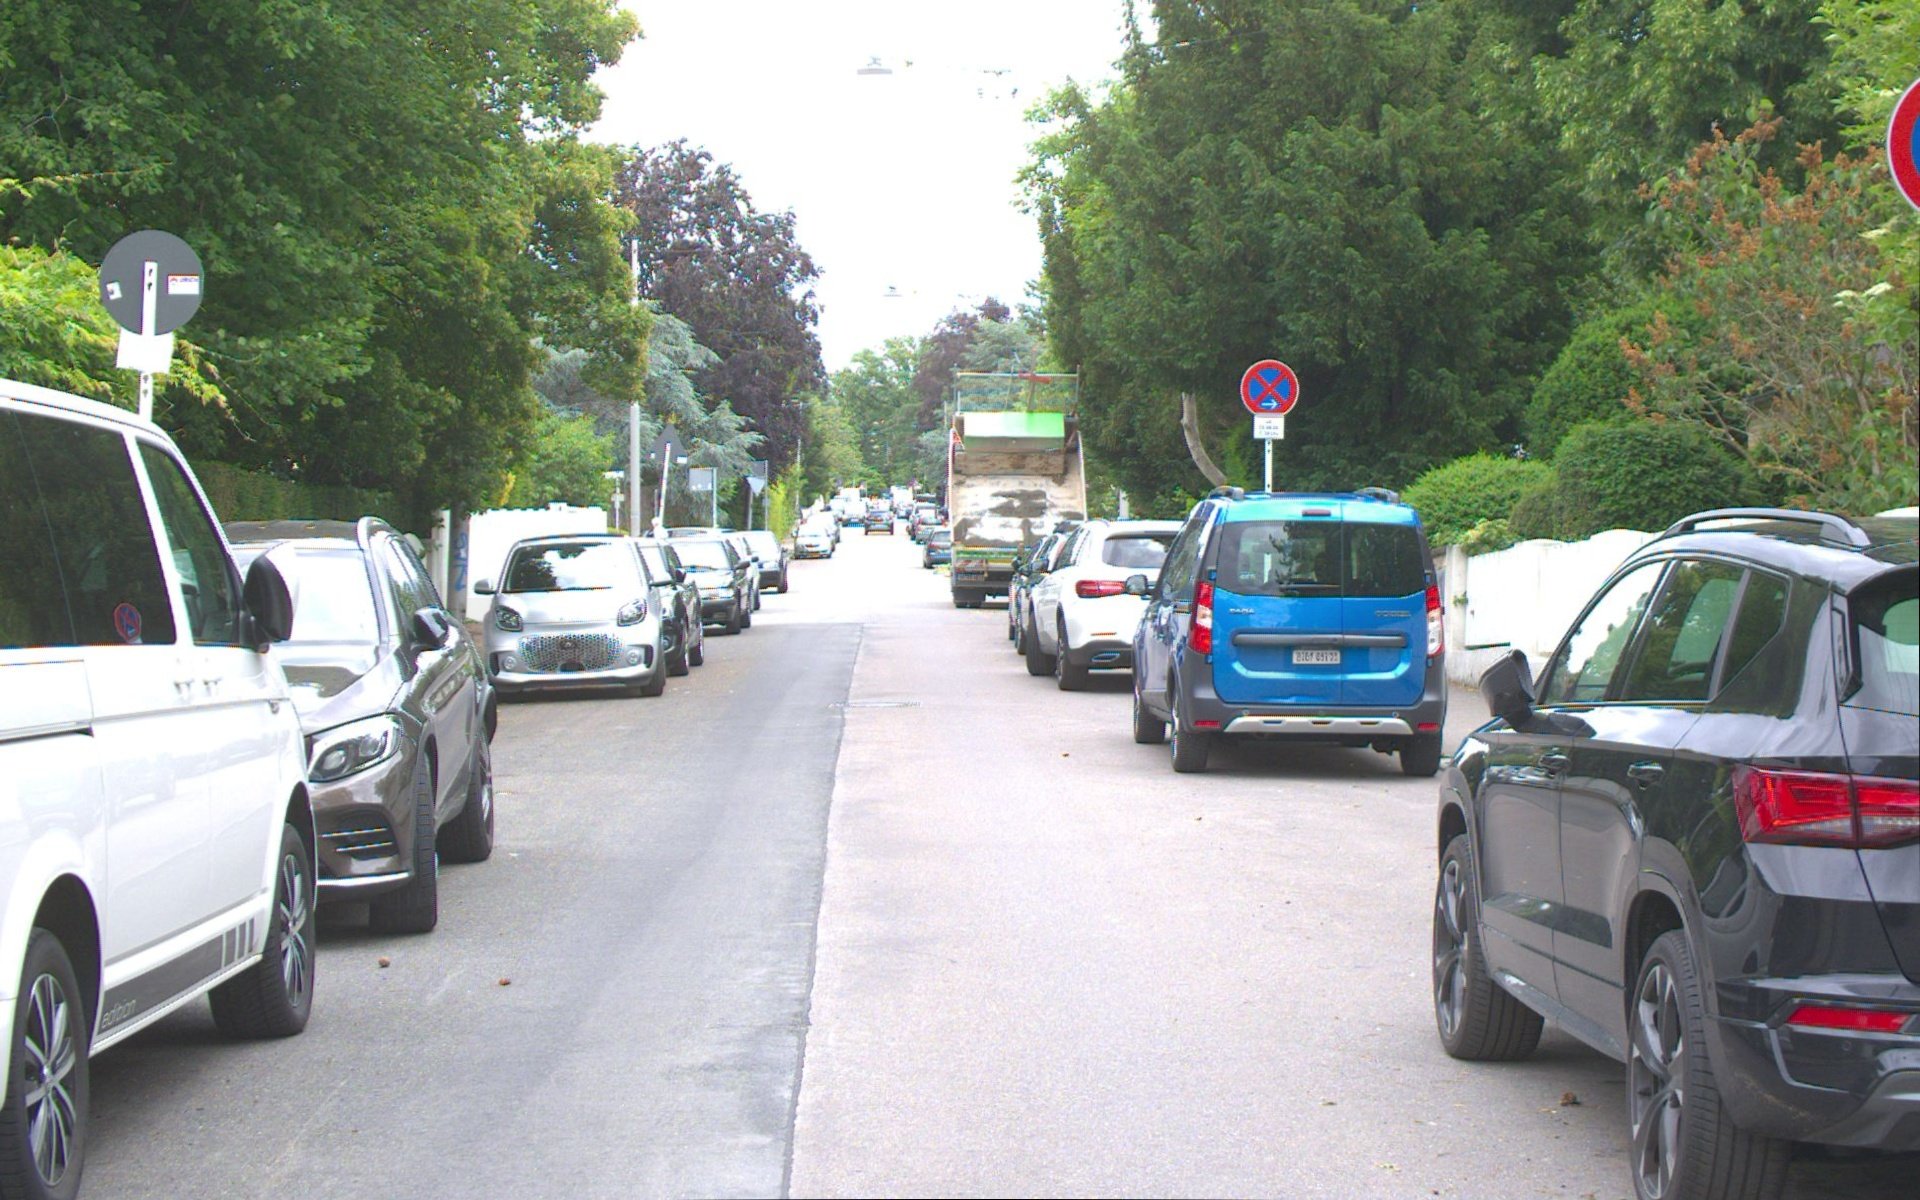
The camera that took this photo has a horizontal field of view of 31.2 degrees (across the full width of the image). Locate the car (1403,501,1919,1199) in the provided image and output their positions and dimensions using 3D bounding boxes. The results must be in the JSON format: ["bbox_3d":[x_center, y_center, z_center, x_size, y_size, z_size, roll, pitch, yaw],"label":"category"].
[{"bbox_3d":[2.349,0.625,8.794,1.750,1.602,4.076,2,0,-2],"label":"car"}]

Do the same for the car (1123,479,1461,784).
[{"bbox_3d":[2.149,0.146,23.287,1.682,1.823,4.157,2,1,-2],"label":"car"}]

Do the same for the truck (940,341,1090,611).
[{"bbox_3d":[0.960,-2.266,64.719,2.524,4.732,7.188,1,1,-1],"label":"truck"}]

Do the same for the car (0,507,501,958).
[{"bbox_3d":[-3.039,0.448,14.751,1.790,1.618,4.344,-1,1,-4],"label":"car"}]

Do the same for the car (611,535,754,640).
[{"bbox_3d":[-4.051,-0.223,50.803,1.641,1.417,4.549,-2,1,1],"label":"car"}]

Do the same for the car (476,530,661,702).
[{"bbox_3d":[-3.747,0.116,33.255,1.621,1.528,2.963,-2,1,-5],"label":"car"}]

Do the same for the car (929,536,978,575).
[{"bbox_3d":[-0.267,-1.755,134.492,1.778,1.484,4.001,0,1,-2],"label":"car"}]

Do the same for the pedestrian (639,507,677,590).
[{"bbox_3d":[-7.382,-1.261,84.048,0.852,2.007,0.701,2,1,-6],"label":"pedestrian"}]

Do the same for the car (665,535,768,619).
[{"bbox_3d":[-4.402,-0.435,62.600,1.596,1.428,4.000,-2,1,-1],"label":"car"}]

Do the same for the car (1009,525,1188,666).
[{"bbox_3d":[1.570,-0.086,40.361,1.698,1.565,4.309,0,1,-3],"label":"car"}]

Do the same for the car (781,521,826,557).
[{"bbox_3d":[-7.009,-2.722,154.280,1.711,1.580,4.000,1,1,1],"label":"car"}]

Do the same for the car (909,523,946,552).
[{"bbox_3d":[-1.693,-3.240,177.991,1.810,1.331,3.633,2,2,-2],"label":"car"}]

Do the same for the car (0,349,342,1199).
[{"bbox_3d":[-2.932,0.449,8.878,1.854,1.907,4.620,-2,0,-1],"label":"car"}]

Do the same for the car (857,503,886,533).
[{"bbox_3d":[-5.192,-4.789,201.004,1.633,1.695,3.495,1,2,-2],"label":"car"}]

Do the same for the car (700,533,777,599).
[{"bbox_3d":[-4.994,-0.787,77.927,1.637,1.390,3.989,-2,1,-3],"label":"car"}]

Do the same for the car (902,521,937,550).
[{"bbox_3d":[-2.194,-3.516,186.848,1.789,1.524,3.734,1,1,0],"label":"car"}]

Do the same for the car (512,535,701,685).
[{"bbox_3d":[-3.822,0.068,37.695,1.655,1.476,3.888,-2,1,-1],"label":"car"}]

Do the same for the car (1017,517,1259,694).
[{"bbox_3d":[1.685,0.008,34.130,1.757,1.600,4.576,1,1,-5],"label":"car"}]

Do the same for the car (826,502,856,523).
[{"bbox_3d":[-7.952,-5.851,230.213,1.728,1.402,3.803,0,1,3],"label":"car"}]
